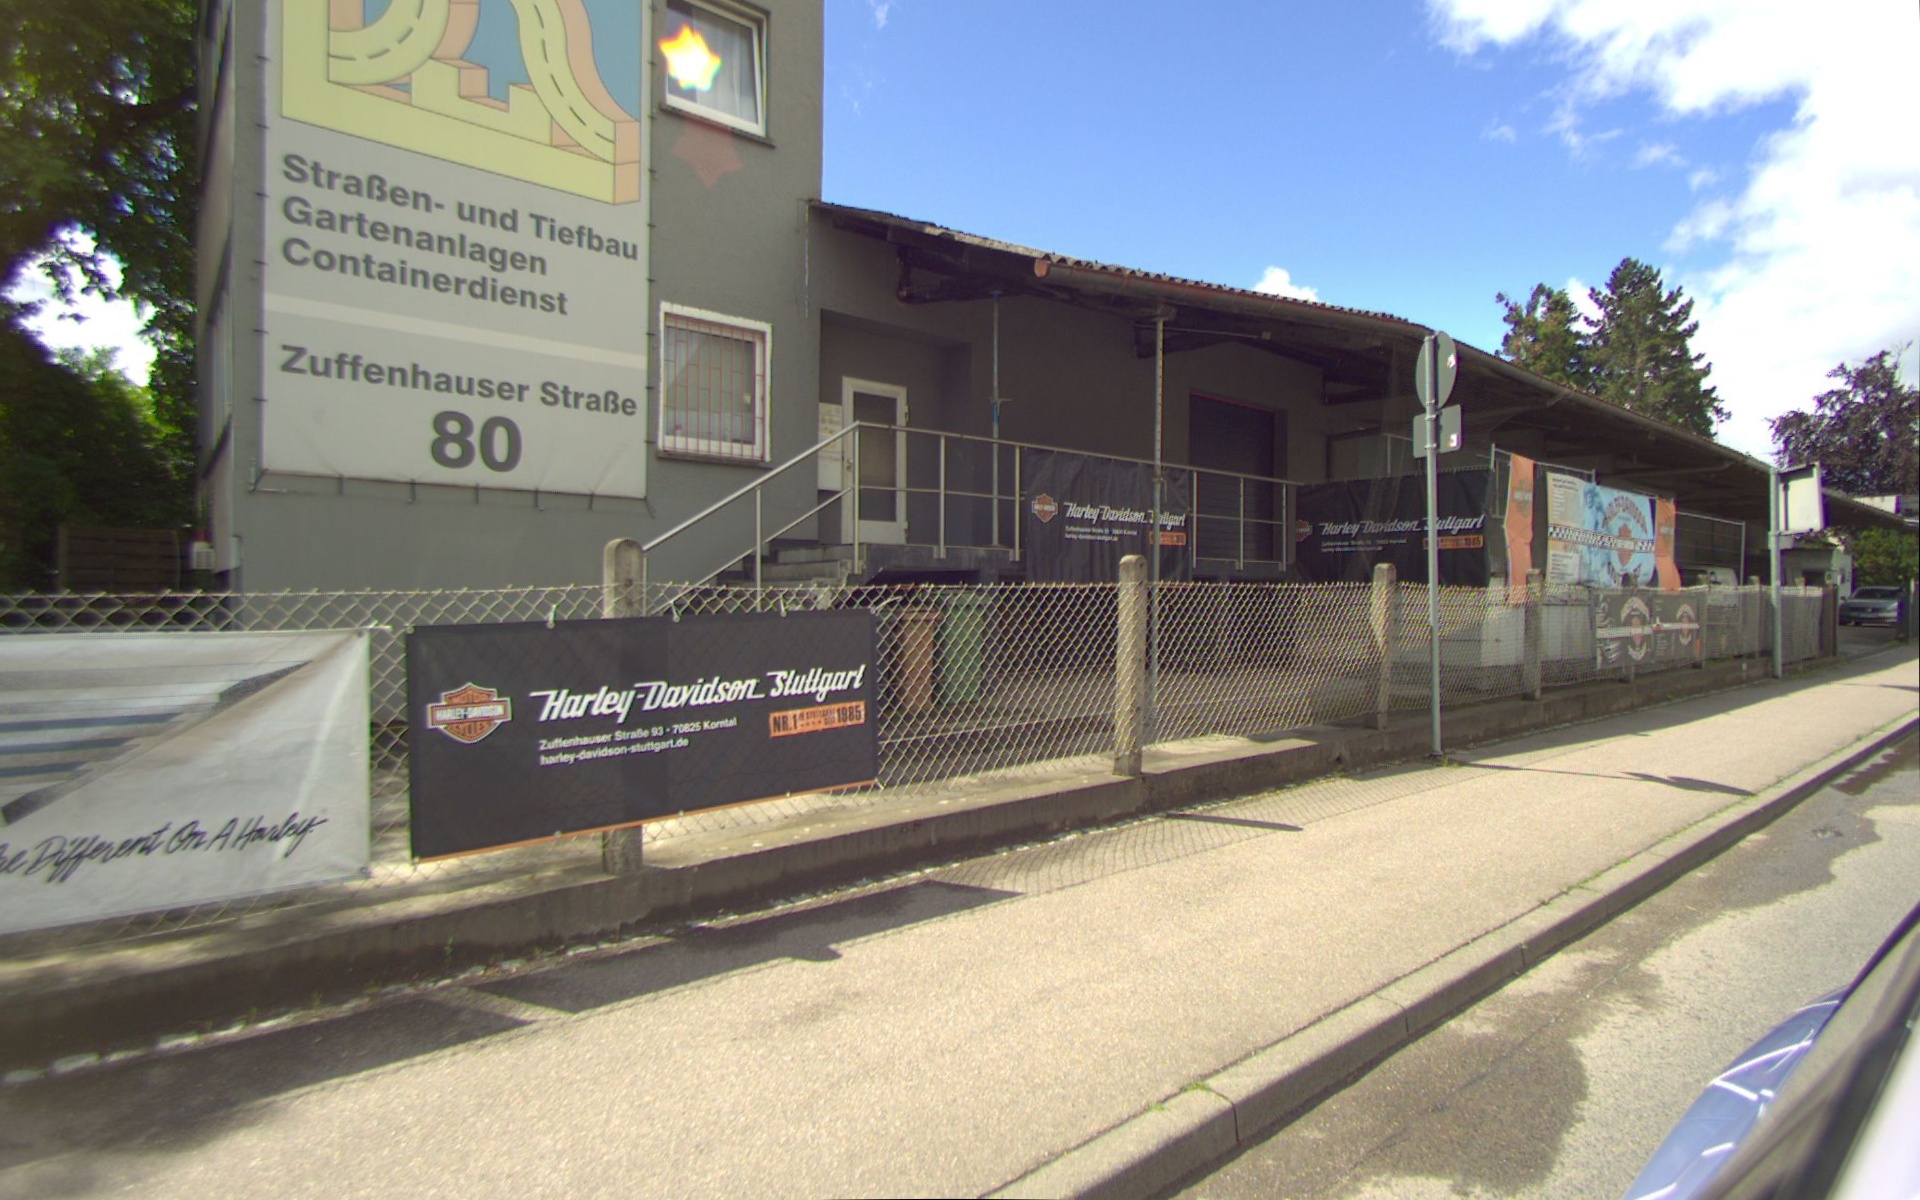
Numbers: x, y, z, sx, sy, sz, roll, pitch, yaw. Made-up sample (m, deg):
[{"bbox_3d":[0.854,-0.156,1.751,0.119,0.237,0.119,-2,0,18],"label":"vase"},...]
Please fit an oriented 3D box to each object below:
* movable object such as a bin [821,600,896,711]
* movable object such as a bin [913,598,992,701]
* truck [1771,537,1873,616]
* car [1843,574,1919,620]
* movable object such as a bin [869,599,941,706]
[{"bbox_3d":[-0.907,0.479,9.027,0.466,0.942,0.482,-1,0,-40],"label":"movable object such as a bin"},{"bbox_3d":[-0.073,0.459,9.736,0.573,0.942,0.482,-1,0,-40],"label":"movable object such as a bin"},{"bbox_3d":[33.559,-0.913,39.335,5.109,2.864,2.091,-1,1,-39],"label":"truck"},{"bbox_3d":[33.773,-0.157,36.616,5.109,1.549,1.862,-1,1,-39],"label":"car"},{"bbox_3d":[-0.512,0.470,9.362,0.466,0.942,0.482,-1,0,-40],"label":"movable object such as a bin"}]
